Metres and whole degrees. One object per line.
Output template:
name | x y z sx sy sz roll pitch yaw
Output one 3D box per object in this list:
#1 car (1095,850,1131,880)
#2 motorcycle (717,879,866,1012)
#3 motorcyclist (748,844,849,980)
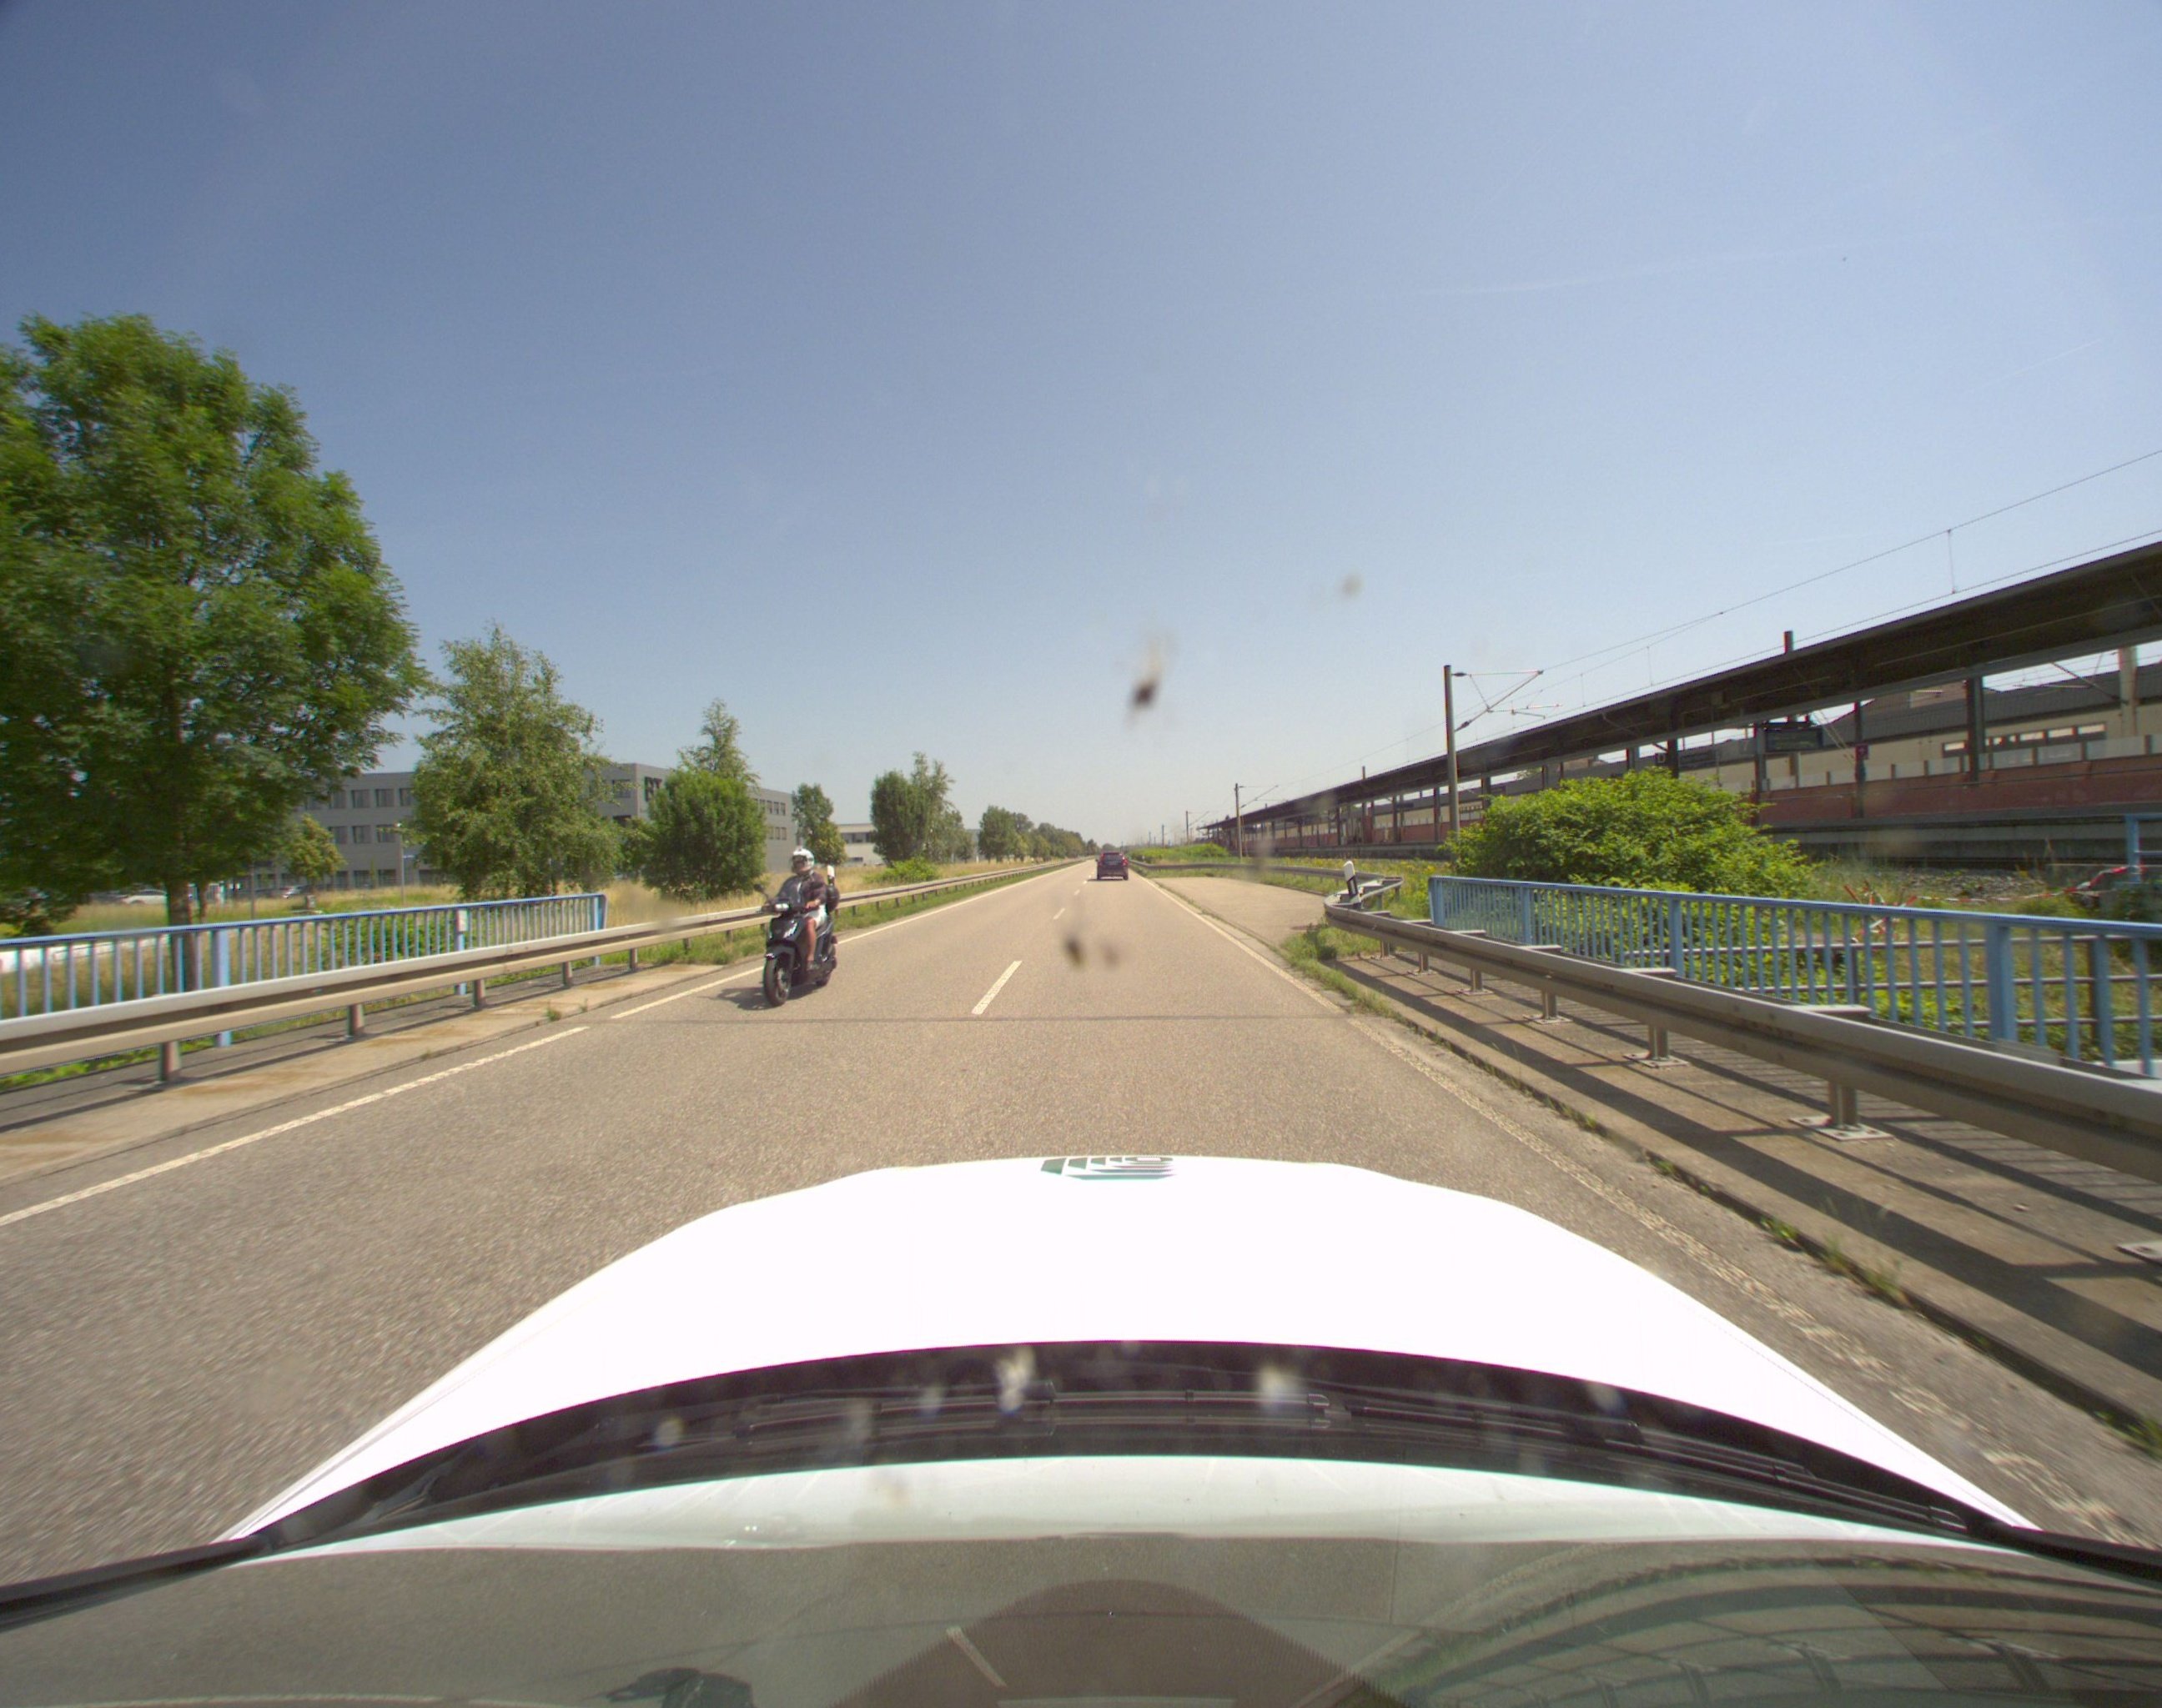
car | 1.903 0.629 49.303 1.987 1.700 3.999 -1 0 -1
motorcycle | -3.197 0.951 9.295 0.686 1.234 2.372 -1 0 4
motorcyclist | -3.199 0.626 9.306 0.723 1.465 0.988 -1 0 4
